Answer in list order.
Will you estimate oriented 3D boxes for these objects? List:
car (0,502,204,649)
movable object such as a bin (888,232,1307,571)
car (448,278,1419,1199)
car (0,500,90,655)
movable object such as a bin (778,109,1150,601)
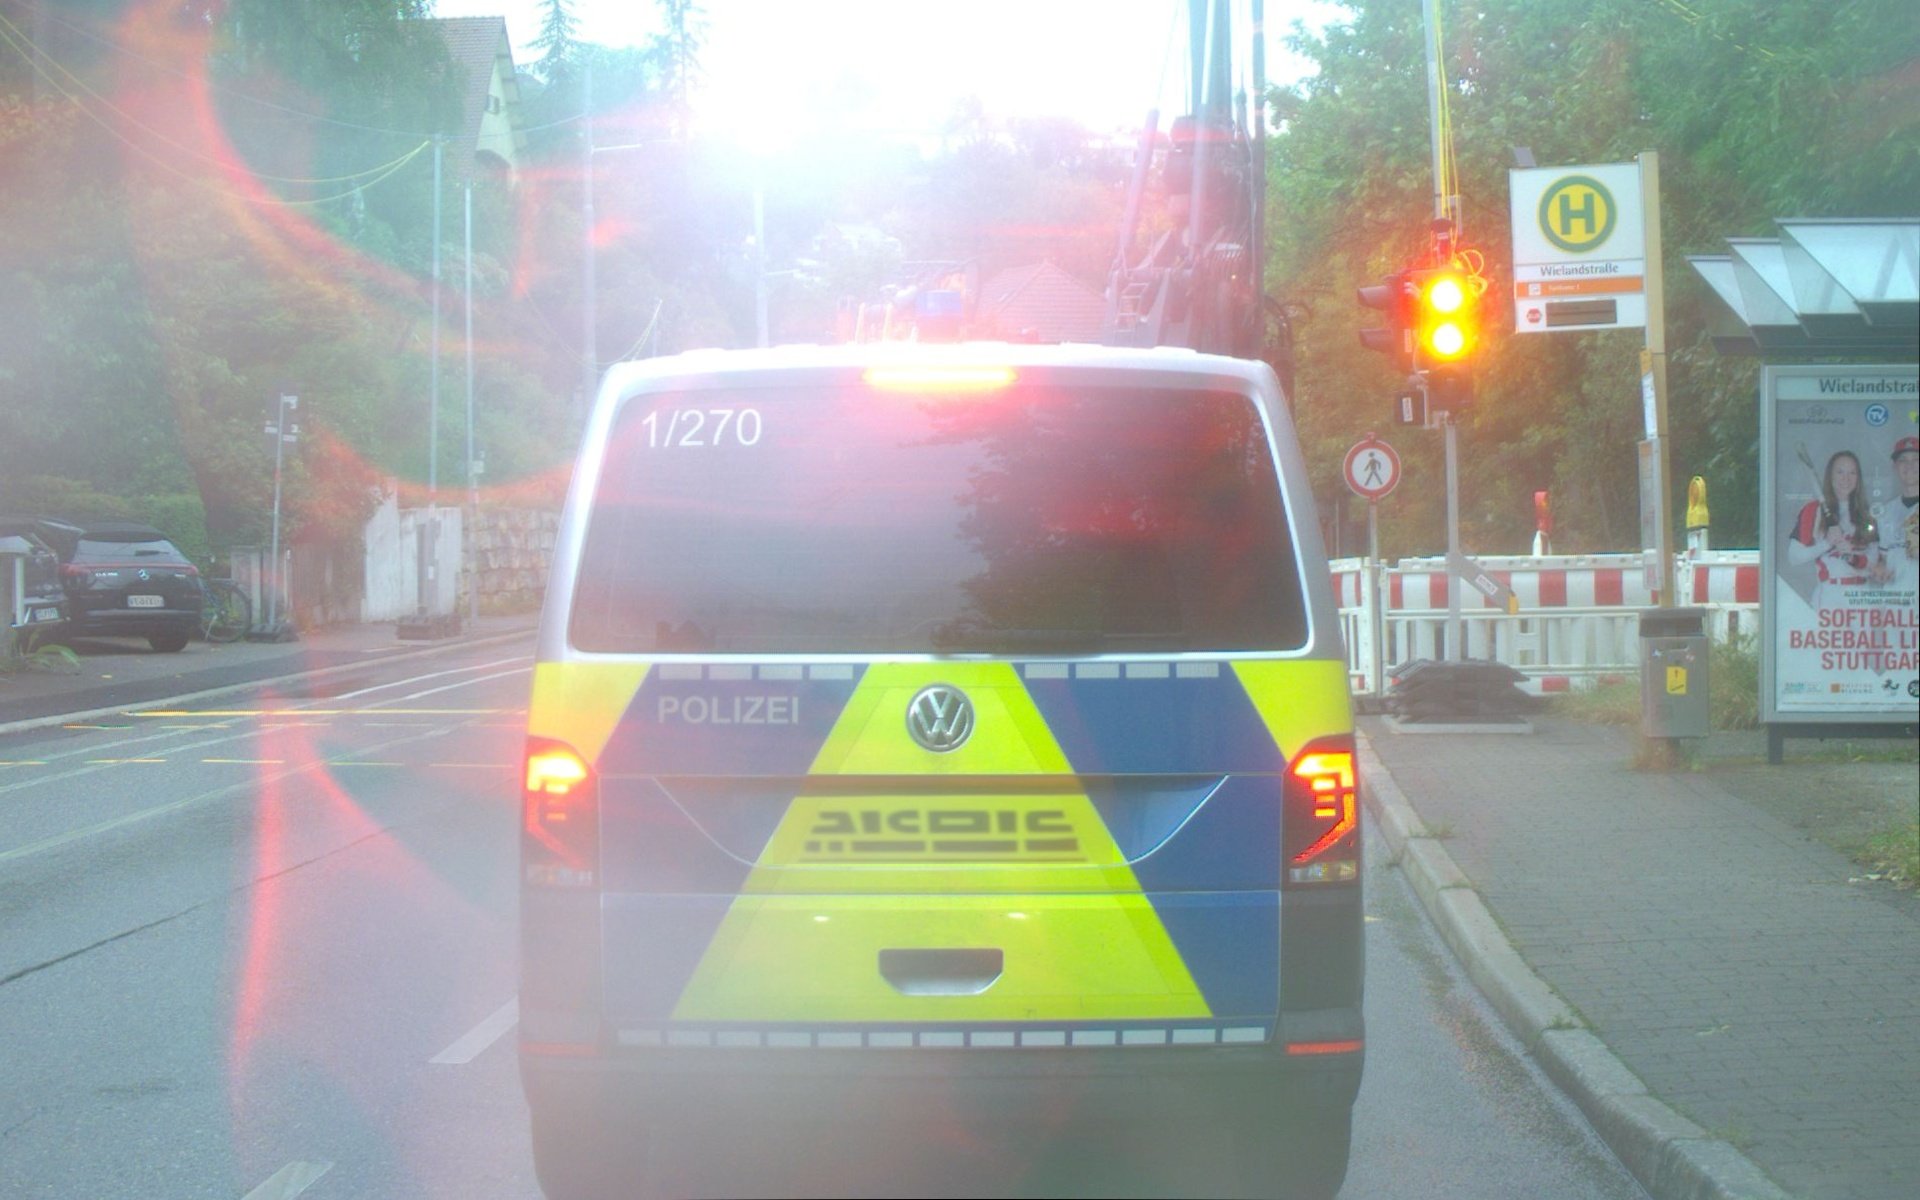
[{"bbox_3d":[-10.040,-0.294,37.744,1.781,1.520,3.999,0,1,-39],"label":"car"},{"bbox_3d":[2.360,-3.061,55.843,3.689,5.049,7.150,-1,0,32],"label":"movable object such as a bin"},{"bbox_3d":[-0.078,0.353,9.065,1.908,2.003,4.440,1,1,-1],"label":"car"},{"bbox_3d":[-11.111,-0.256,34.854,3.989,1.520,1.940,1,1,13],"label":"car"},{"bbox_3d":[0.154,-2.169,31.758,2.879,4.156,4.486,-1,2,6],"label":"movable object such as a bin"}]
